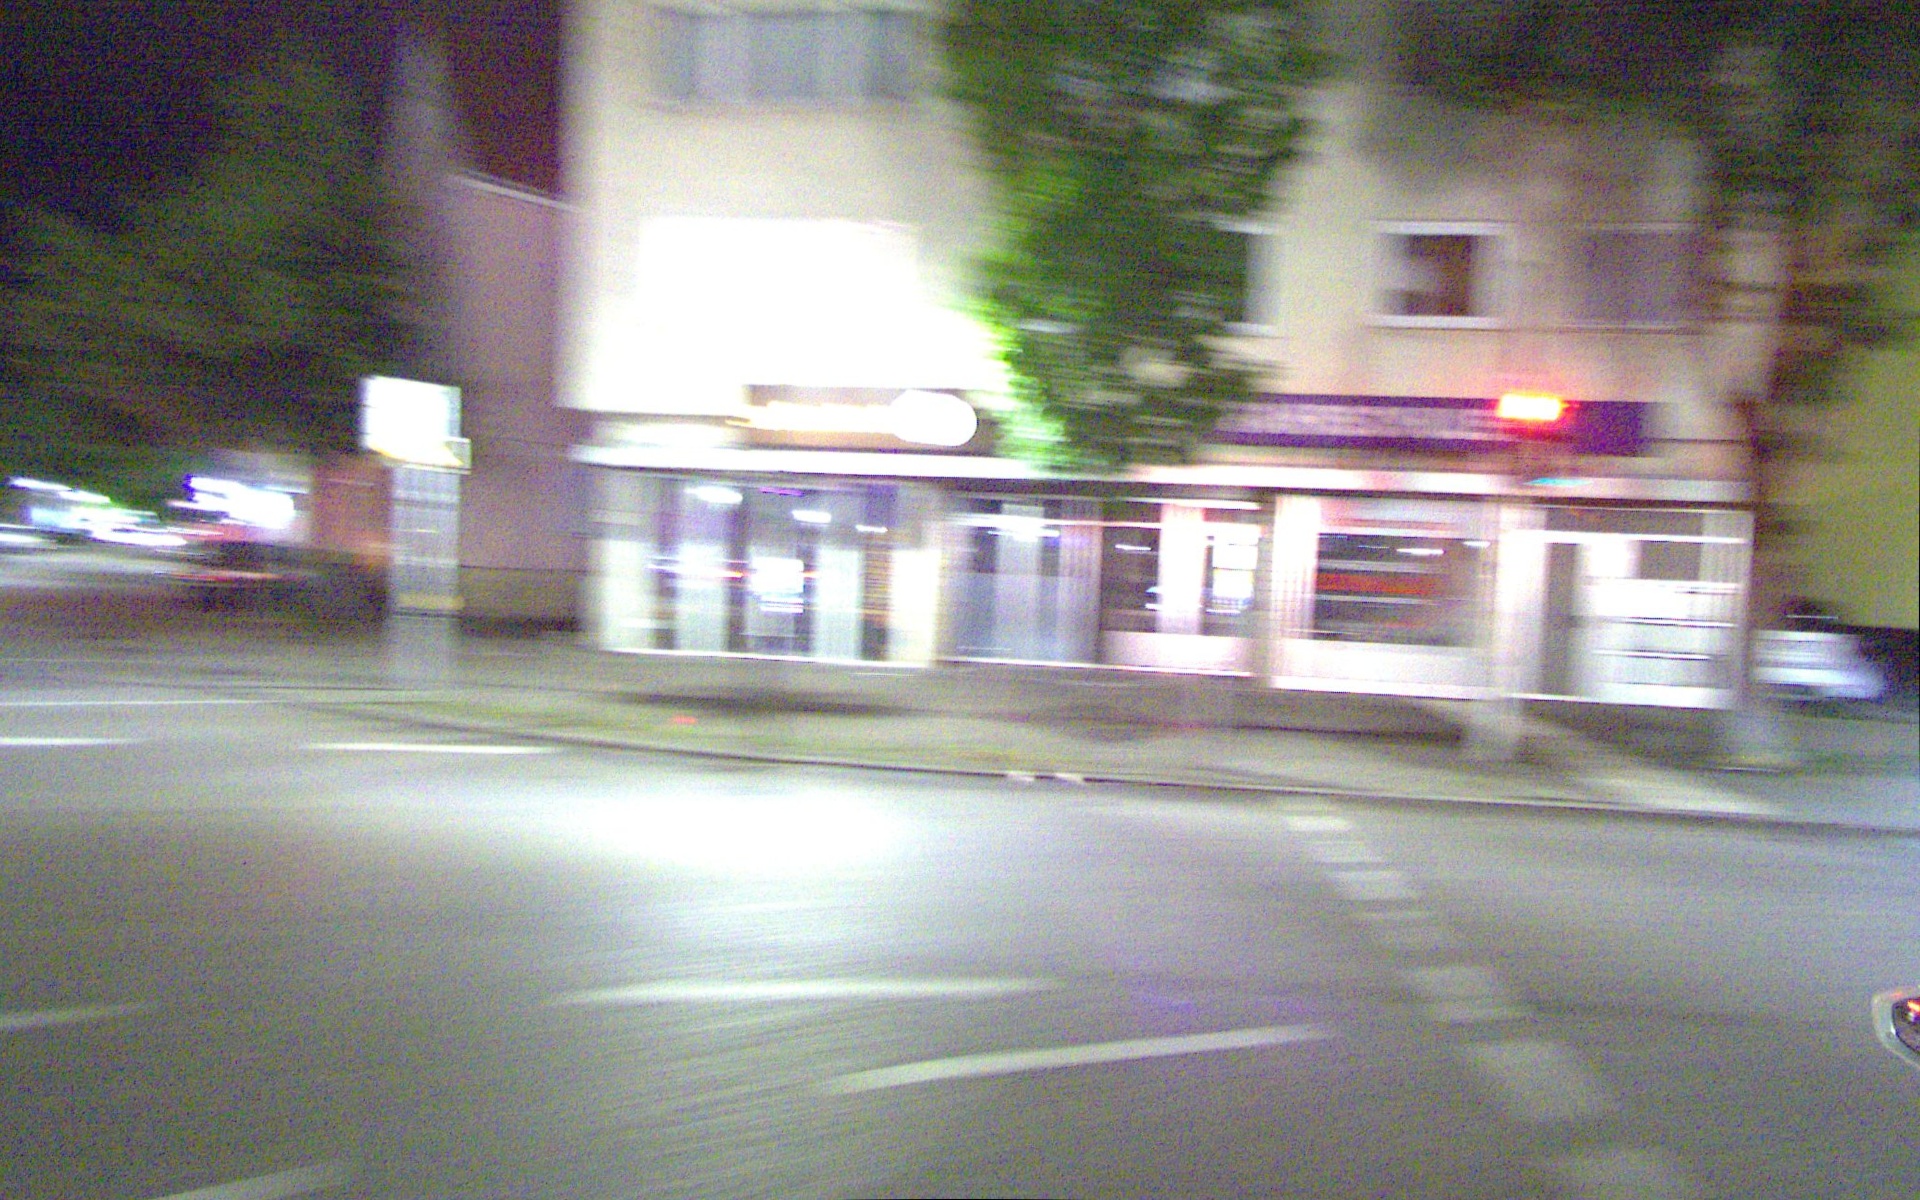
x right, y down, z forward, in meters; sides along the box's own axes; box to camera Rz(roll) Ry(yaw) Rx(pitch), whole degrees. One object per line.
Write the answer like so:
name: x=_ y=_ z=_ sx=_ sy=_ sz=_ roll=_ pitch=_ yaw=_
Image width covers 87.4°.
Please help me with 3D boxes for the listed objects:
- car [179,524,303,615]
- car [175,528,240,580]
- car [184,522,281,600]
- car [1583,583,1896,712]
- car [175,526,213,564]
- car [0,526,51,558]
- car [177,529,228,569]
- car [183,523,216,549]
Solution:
car: x=-15.643 y=-0.695 z=21.776 sx=1.913 sy=1.773 sz=4.128 roll=0 pitch=3 yaw=-40
car: x=-30.111 y=-1.862 z=40.161 sx=1.913 sy=1.934 sz=4.128 roll=0 pitch=3 yaw=-40
car: x=-19.875 y=-1.071 z=27.375 sx=1.913 sy=1.934 sz=4.128 roll=0 pitch=3 yaw=-40
car: x=11.247 y=0.578 z=14.919 sx=1.783 sy=1.547 sz=4.001 roll=2 pitch=2 yaw=6
car: x=-51.696 y=-3.701 z=67.764 sx=1.913 sy=2.384 sz=4.128 roll=0 pitch=3 yaw=-40
car: x=-48.414 y=-2.983 z=51.758 sx=1.982 sy=1.539 sz=3.956 roll=0 pitch=3 yaw=-38
car: x=-38.954 y=-2.614 z=51.638 sx=1.913 sy=1.934 sz=4.128 roll=0 pitch=3 yaw=-40
car: x=-60.789 y=-5.082 z=80.277 sx=1.913 sy=1.934 sz=4.128 roll=0 pitch=3 yaw=-40
